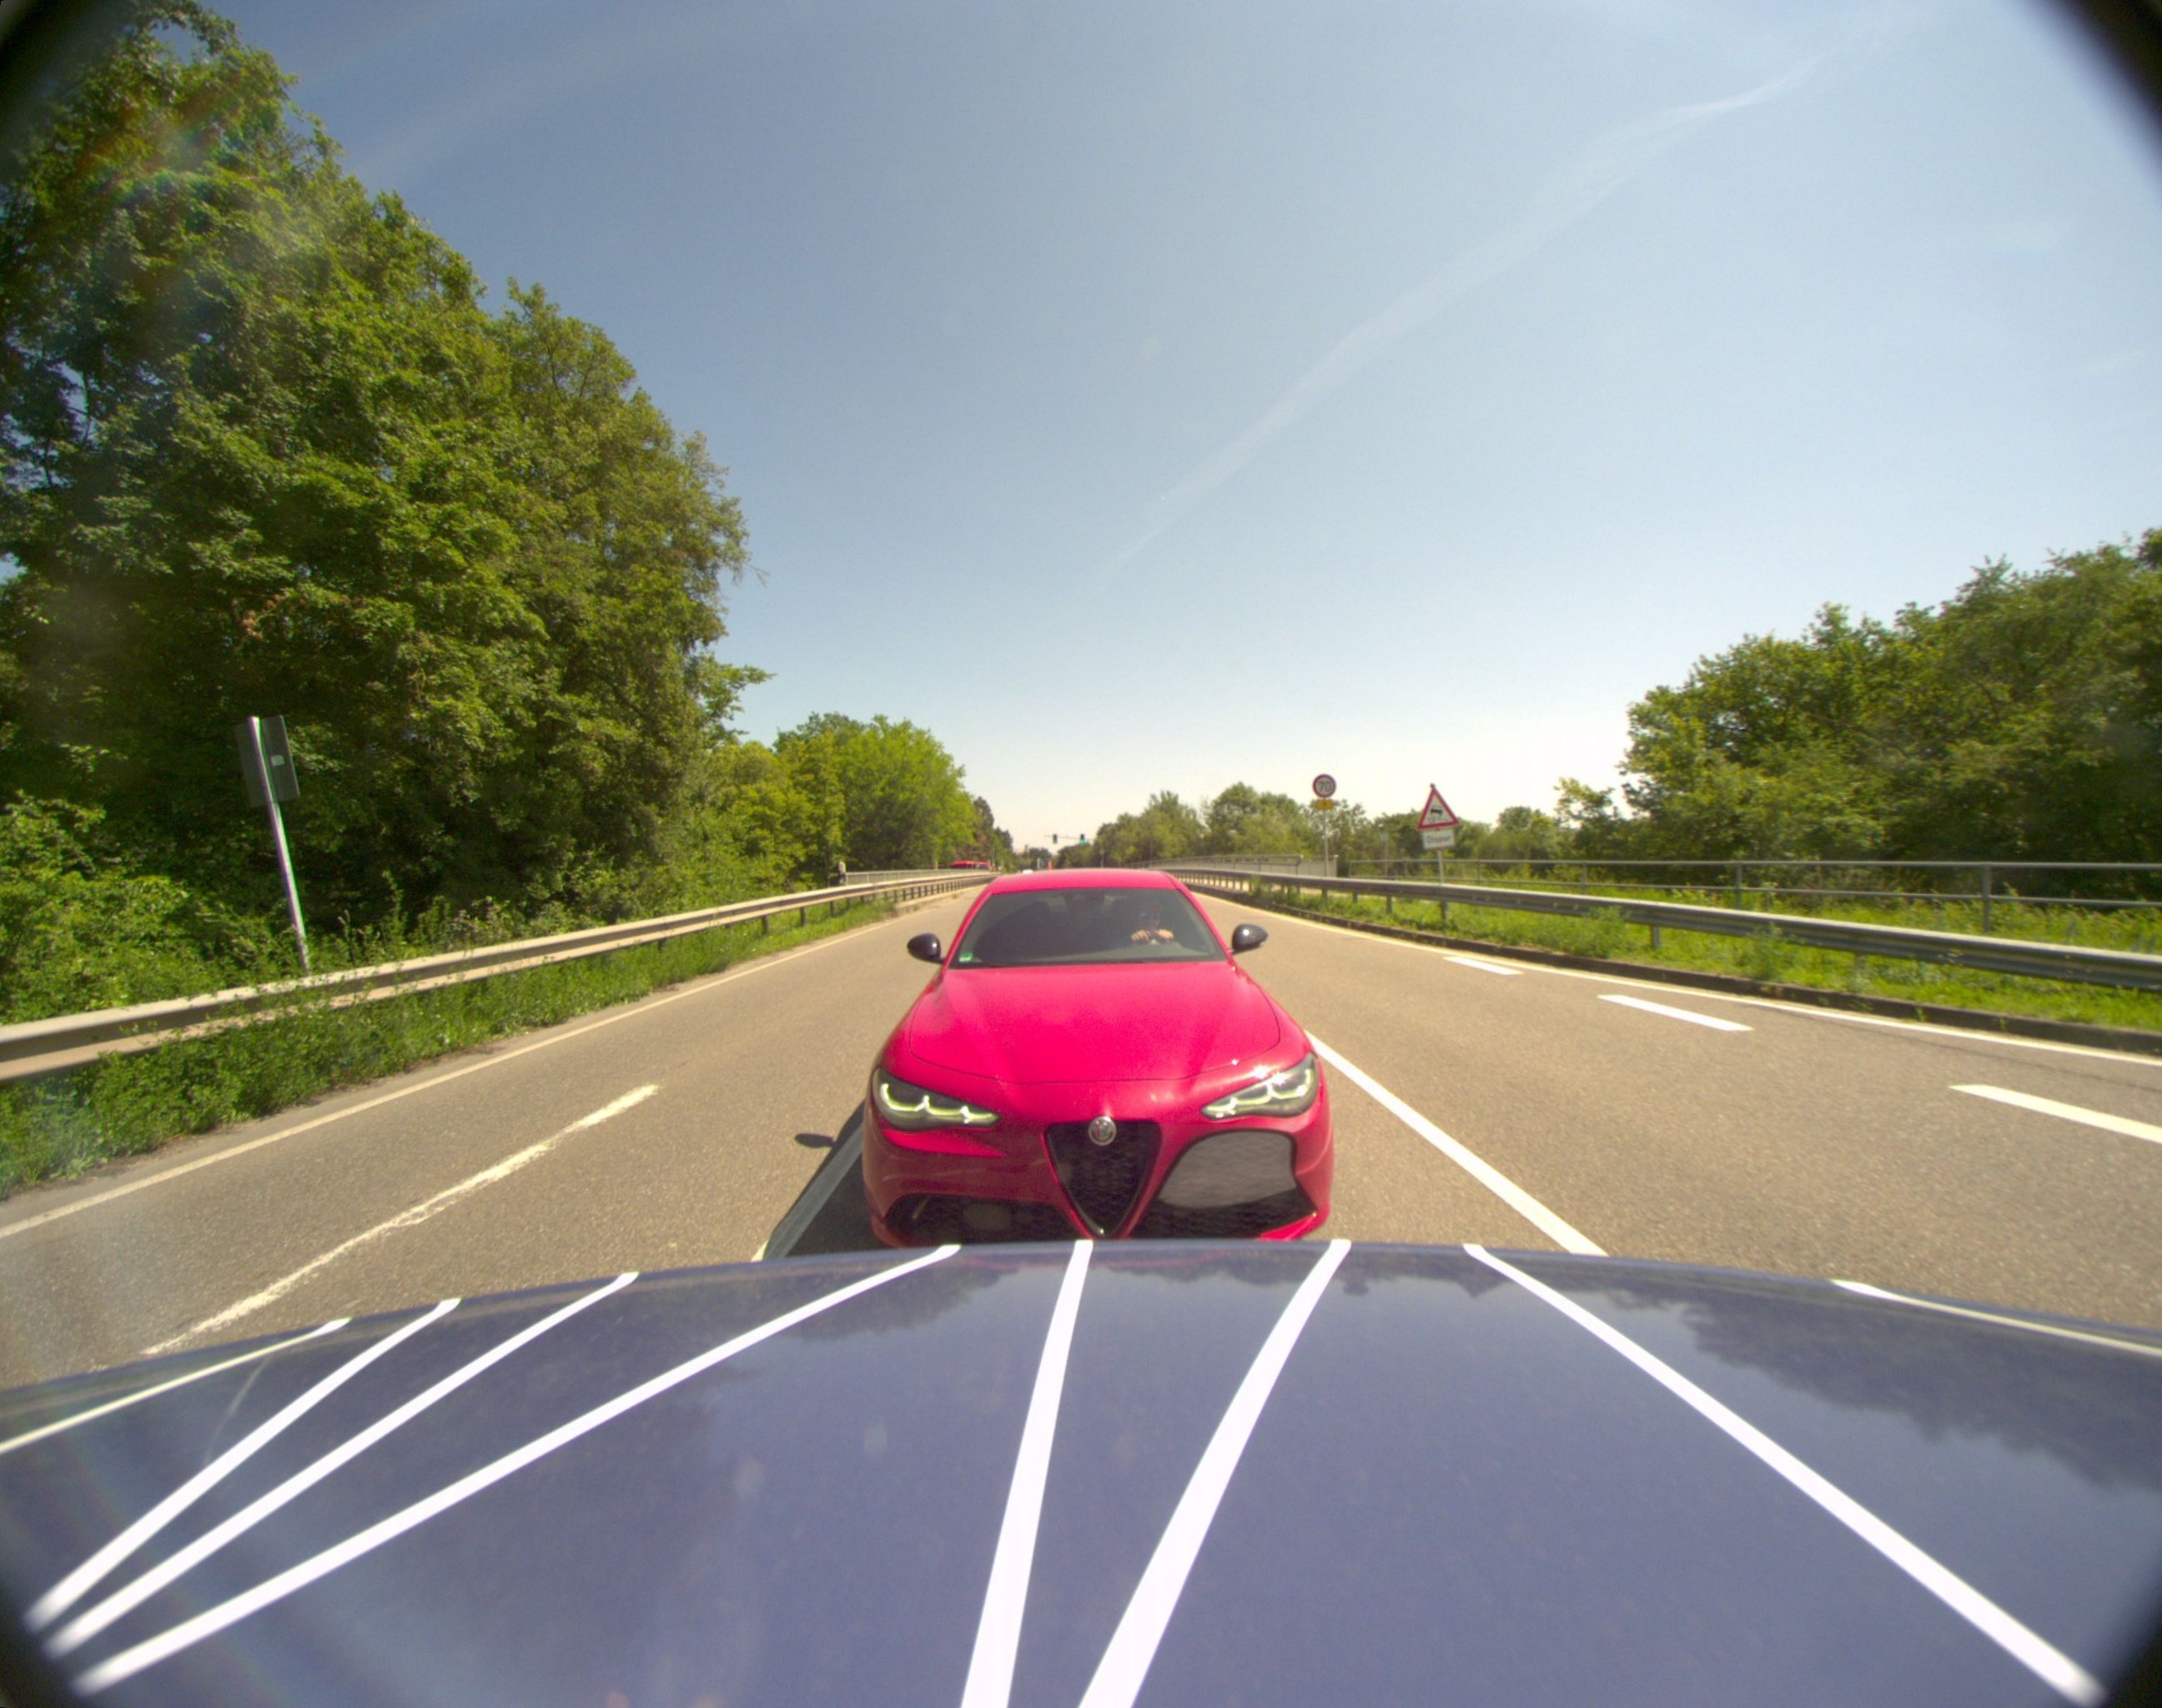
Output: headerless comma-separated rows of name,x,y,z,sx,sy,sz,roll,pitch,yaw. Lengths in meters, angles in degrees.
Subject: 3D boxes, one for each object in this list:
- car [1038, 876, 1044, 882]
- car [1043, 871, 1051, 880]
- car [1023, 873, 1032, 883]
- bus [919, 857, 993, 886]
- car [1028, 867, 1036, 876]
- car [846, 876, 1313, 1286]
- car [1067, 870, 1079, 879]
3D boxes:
car,-13.090,8.224,251.122,1.848,1.758,3.999,-1,0,-1
car,-9.659,6.048,216.550,1.996,2.354,5.180,-2,0,-3
car,-9.323,4.196,133.019,1.416,1.499,3.315,-1,0,-3
bus,-16.843,2.257,101.613,12.393,3.641,2.874,-1,1,44
car,-9.050,3.217,140.209,1.476,1.565,3.487,-1,0,-4
car,-0.043,0.945,5.107,1.801,1.448,4.284,-1,0,-1
car,-1.325,3.365,125.014,1.649,1.410,3.764,-2,0,-4
